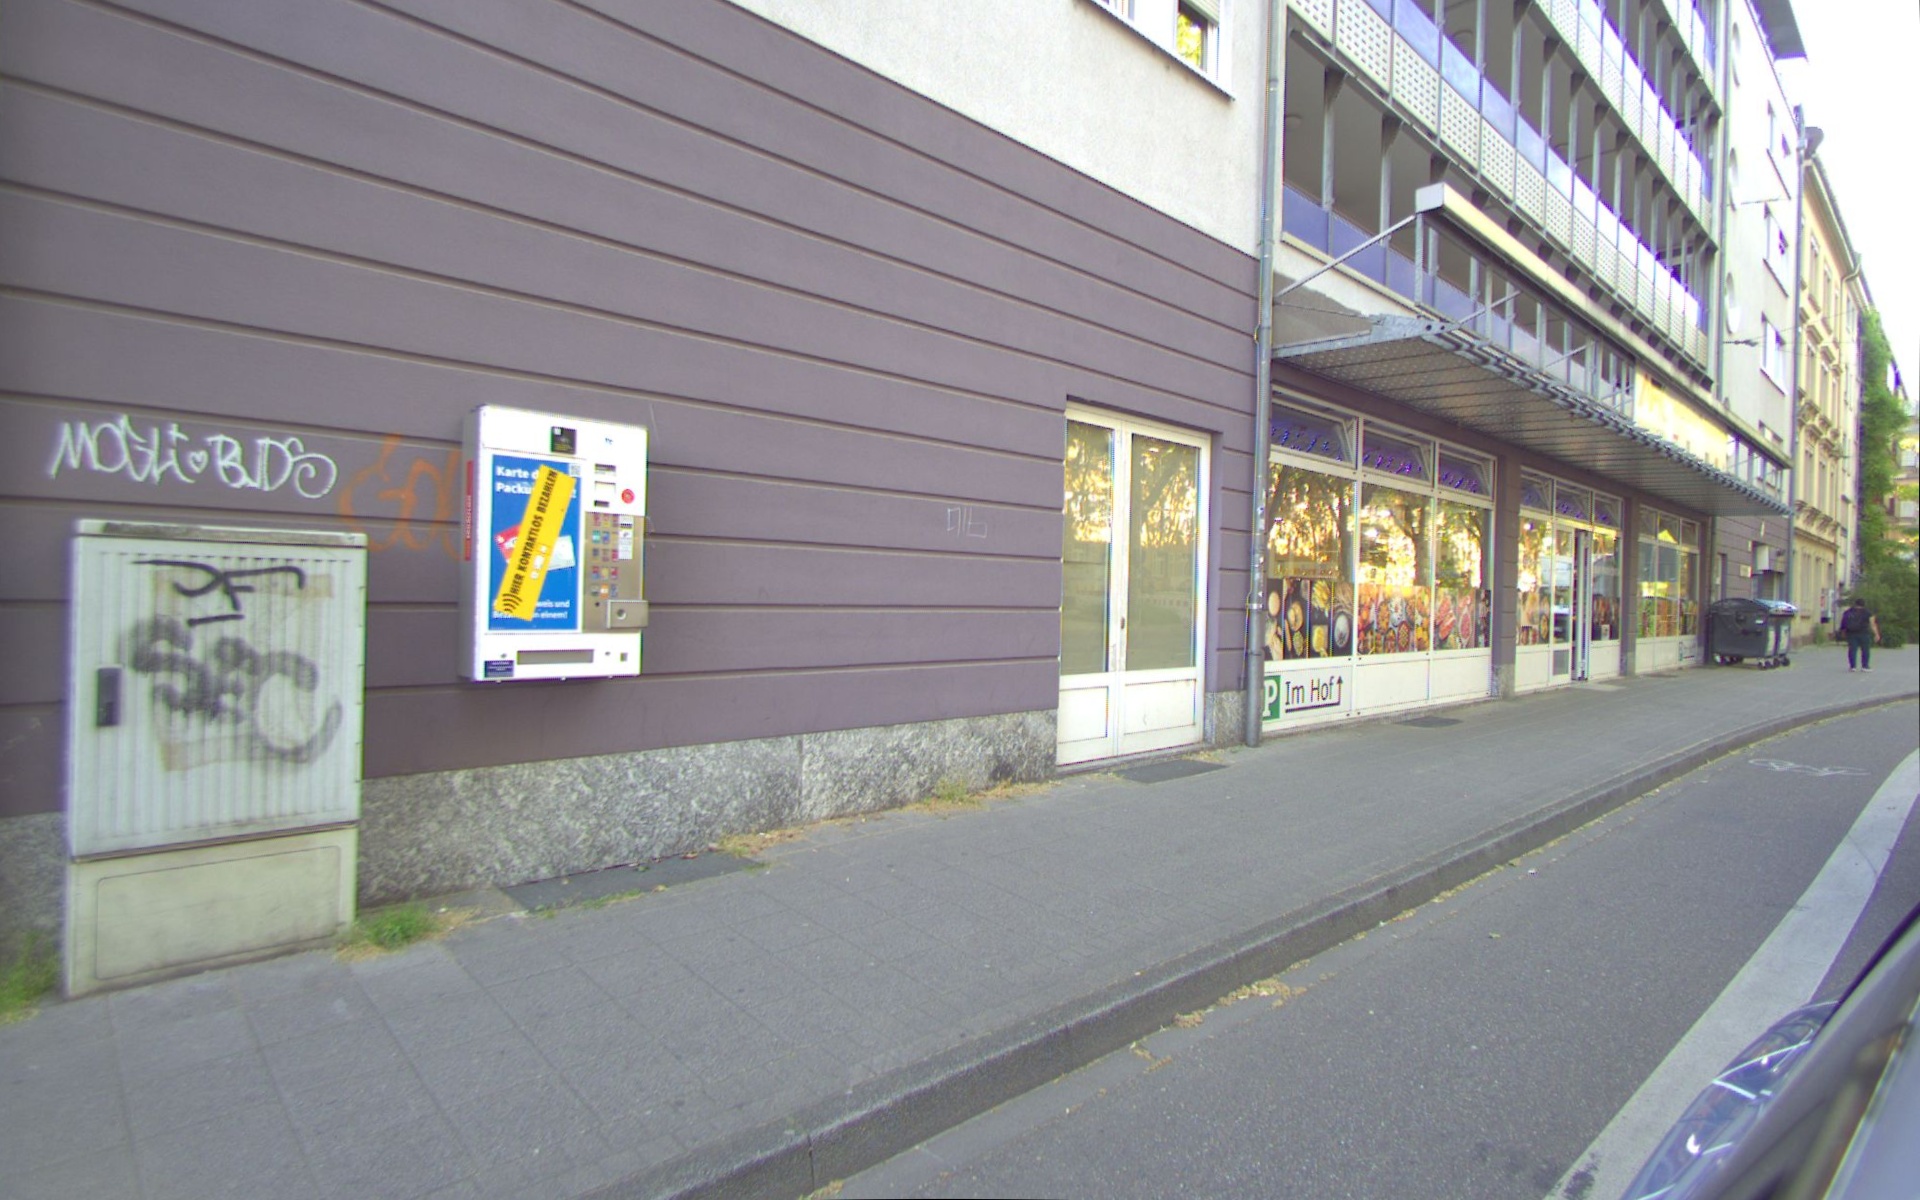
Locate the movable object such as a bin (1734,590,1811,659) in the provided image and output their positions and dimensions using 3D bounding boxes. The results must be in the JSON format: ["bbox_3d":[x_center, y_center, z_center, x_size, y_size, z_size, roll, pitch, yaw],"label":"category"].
[{"bbox_3d":[17.774,0.516,22.144,0.923,1.444,1.158,1,1,-40],"label":"movable object such as a bin"}]

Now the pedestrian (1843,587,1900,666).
[{"bbox_3d":[19.169,0.534,21.285,0.862,1.612,0.613,2,1,44],"label":"pedestrian"}]

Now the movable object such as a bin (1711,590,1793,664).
[{"bbox_3d":[16.281,0.536,20.809,0.923,1.444,1.158,1,1,-40],"label":"movable object such as a bin"}]
